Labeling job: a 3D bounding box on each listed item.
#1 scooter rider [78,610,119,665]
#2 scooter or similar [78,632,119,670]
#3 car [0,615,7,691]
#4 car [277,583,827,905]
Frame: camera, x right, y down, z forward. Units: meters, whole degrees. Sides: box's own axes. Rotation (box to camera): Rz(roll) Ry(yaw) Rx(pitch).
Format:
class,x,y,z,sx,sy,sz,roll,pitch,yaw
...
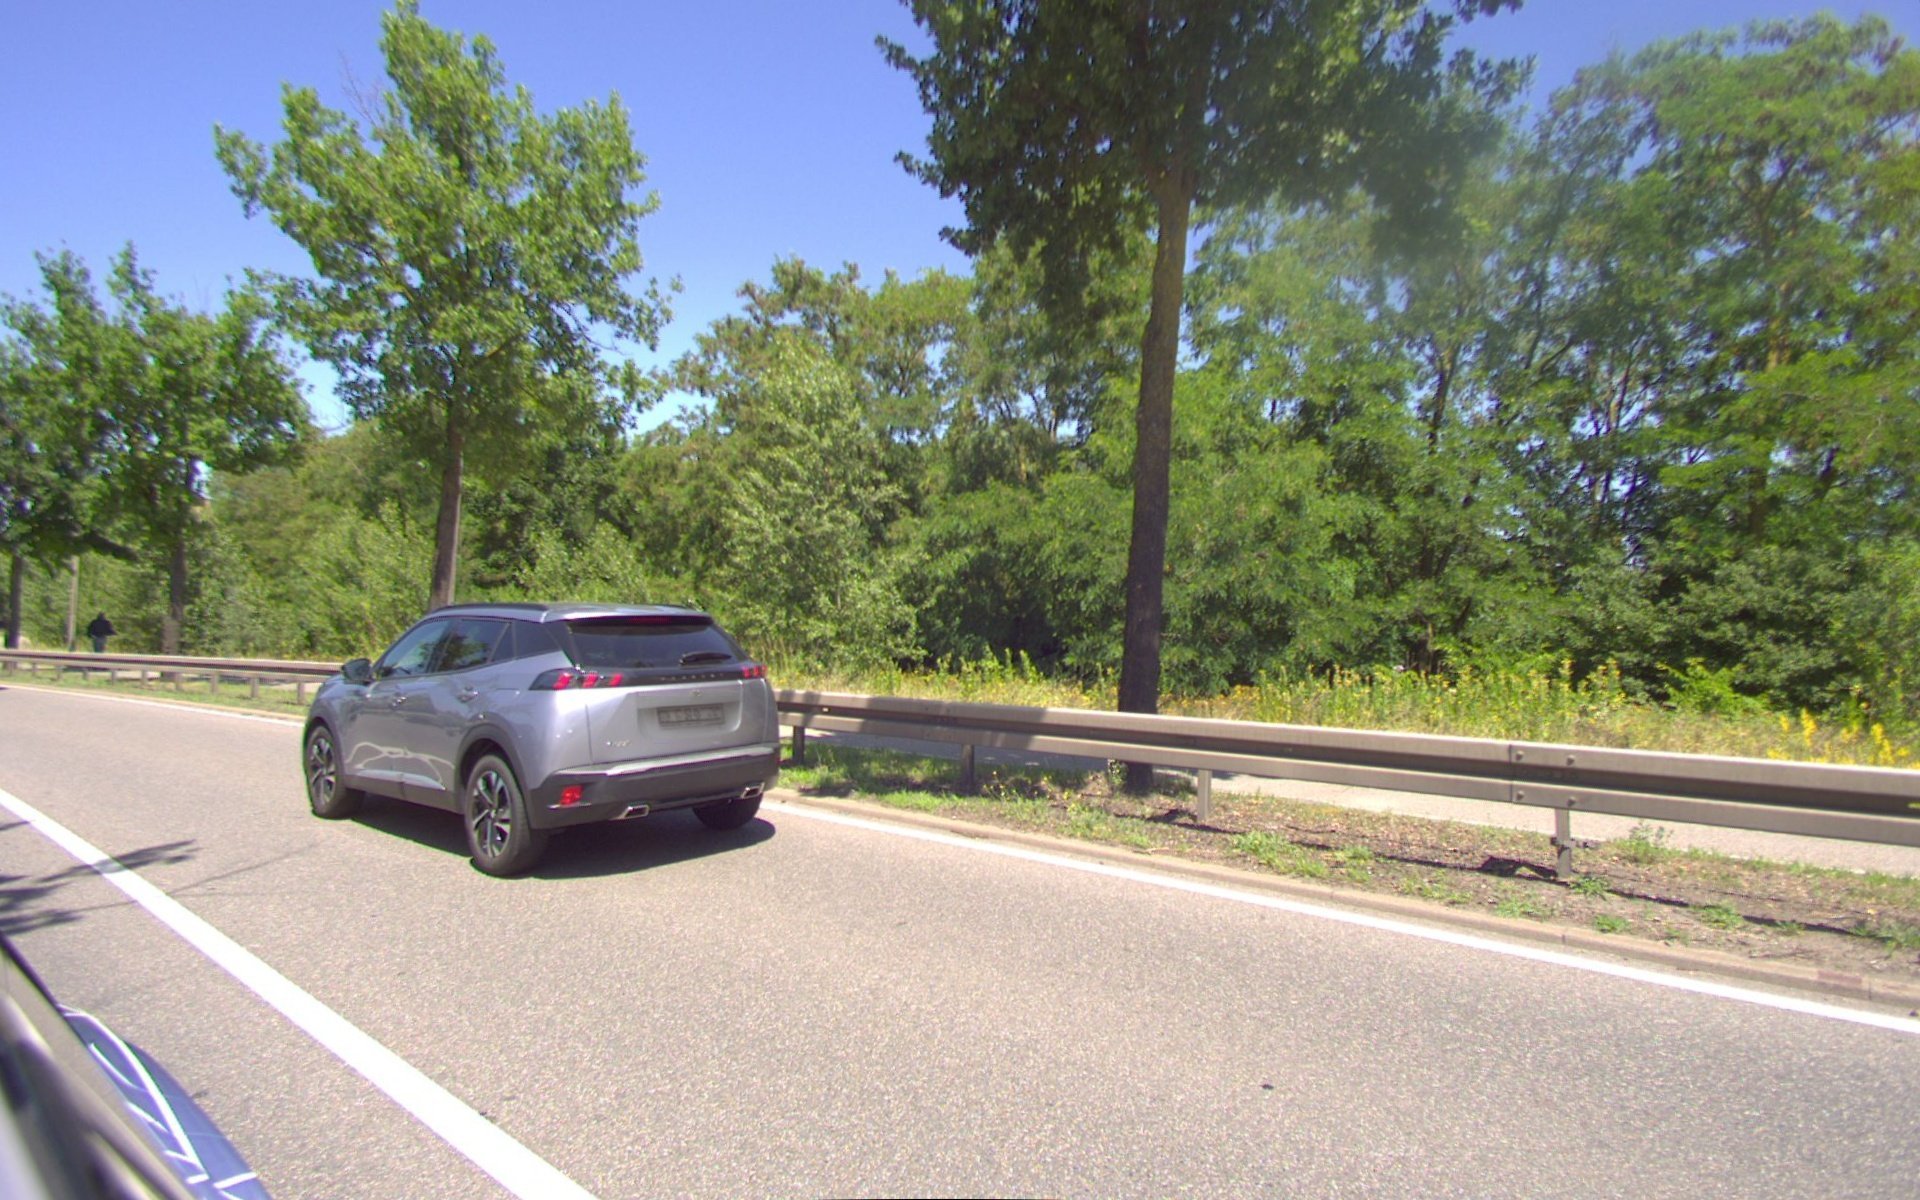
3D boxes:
class,x,y,z,sx,sy,sz,roll,pitch,yaw
scooter rider,-26.603,1.142,31.250,1.119,1.670,0.769,-1,-1,39
scooter or similar,-26.616,1.561,31.260,1.093,1.099,0.769,-1,-1,38
car,-22.610,1.178,22.008,4.381,1.615,1.853,-2,-1,34
car,-2.964,0.723,6.916,4.122,1.567,1.732,-1,-1,39
